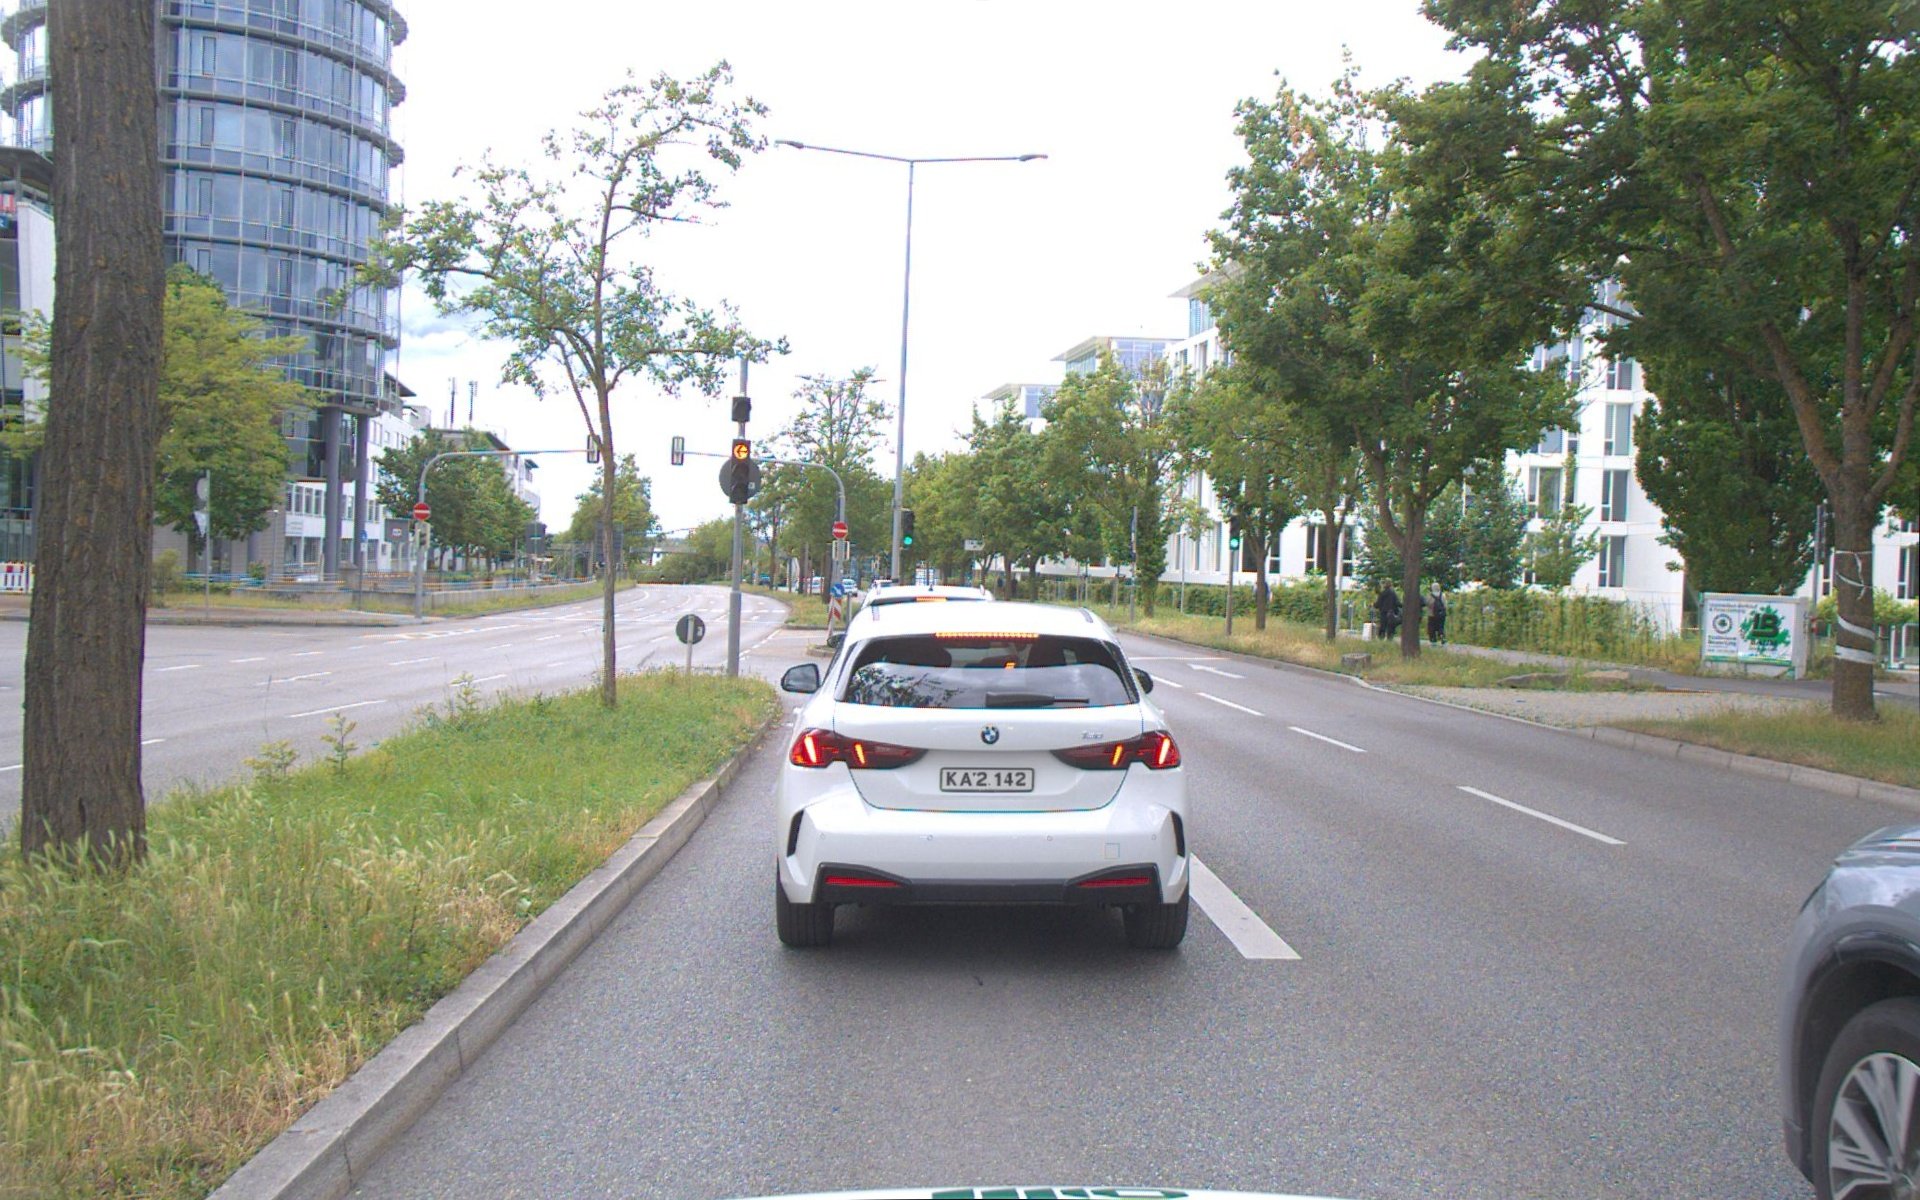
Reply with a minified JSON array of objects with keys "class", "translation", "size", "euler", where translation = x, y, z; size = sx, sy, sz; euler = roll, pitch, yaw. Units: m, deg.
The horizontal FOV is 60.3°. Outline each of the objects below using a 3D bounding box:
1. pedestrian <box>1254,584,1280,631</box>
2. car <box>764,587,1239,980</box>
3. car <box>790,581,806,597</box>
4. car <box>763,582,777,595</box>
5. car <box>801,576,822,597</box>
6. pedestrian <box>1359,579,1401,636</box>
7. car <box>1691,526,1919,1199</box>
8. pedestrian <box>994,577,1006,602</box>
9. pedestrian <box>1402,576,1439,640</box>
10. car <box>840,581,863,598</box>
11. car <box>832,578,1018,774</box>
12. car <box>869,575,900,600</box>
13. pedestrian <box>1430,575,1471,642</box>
[{"class":"pedestrian","translation":[10.554,0.267,56.937],"size":[0.726,1.601,0.674],"euler":[1,-1,-2]},{"class":"car","translation":[0.132,0.695,8.330],"size":[1.785,1.463,3.999],"euler":[1,0,-1]},{"class":"car","translation":[-18.839,-1.280,192.906],"size":[1.705,1.695,3.997],"euler":[1,0,-4]},{"class":"car","translation":[-24.803,-1.496,216.041],"size":[1.570,1.695,3.997],"euler":[1,0,-4]},{"class":"car","translation":[-12.744,-1.140,141.744],"size":[1.663,1.747,3.994],"euler":[1,0,-7]},{"class":"pedestrian","translation":[11.006,0.196,43.370],"size":[0.773,1.473,1.111],"euler":[1,0,-2]},{"class":"car","translation":[2.800,0.698,1.994],"size":[1.853,1.623,4.313],"euler":[1,0,-1]},{"class":"pedestrian","translation":[3.204,-0.846,133.018],"size":[0.749,2.049,0.751],"euler":[1,0,-16]},{"class":"pedestrian","translation":[12.004,0.212,43.156],"size":[0.685,1.623,0.883],"euler":[1,0,-2]},{"class":"car","translation":[-9.612,-0.943,146.703],"size":[1.661,1.512,3.686],"euler":[1,0,-9]},{"class":"car","translation":[-0.321,0.628,15.843],"size":[1.518,1.596,3.999],"euler":[1,0,-1]},{"class":"car","translation":[-5.282,-0.854,115.357],"size":[1.955,1.699,3.995],"euler":[0,0,-6]},{"class":"pedestrian","translation":[12.772,0.225,43.069],"size":[0.751,1.715,0.883],"euler":[1,-1,-2]}]
